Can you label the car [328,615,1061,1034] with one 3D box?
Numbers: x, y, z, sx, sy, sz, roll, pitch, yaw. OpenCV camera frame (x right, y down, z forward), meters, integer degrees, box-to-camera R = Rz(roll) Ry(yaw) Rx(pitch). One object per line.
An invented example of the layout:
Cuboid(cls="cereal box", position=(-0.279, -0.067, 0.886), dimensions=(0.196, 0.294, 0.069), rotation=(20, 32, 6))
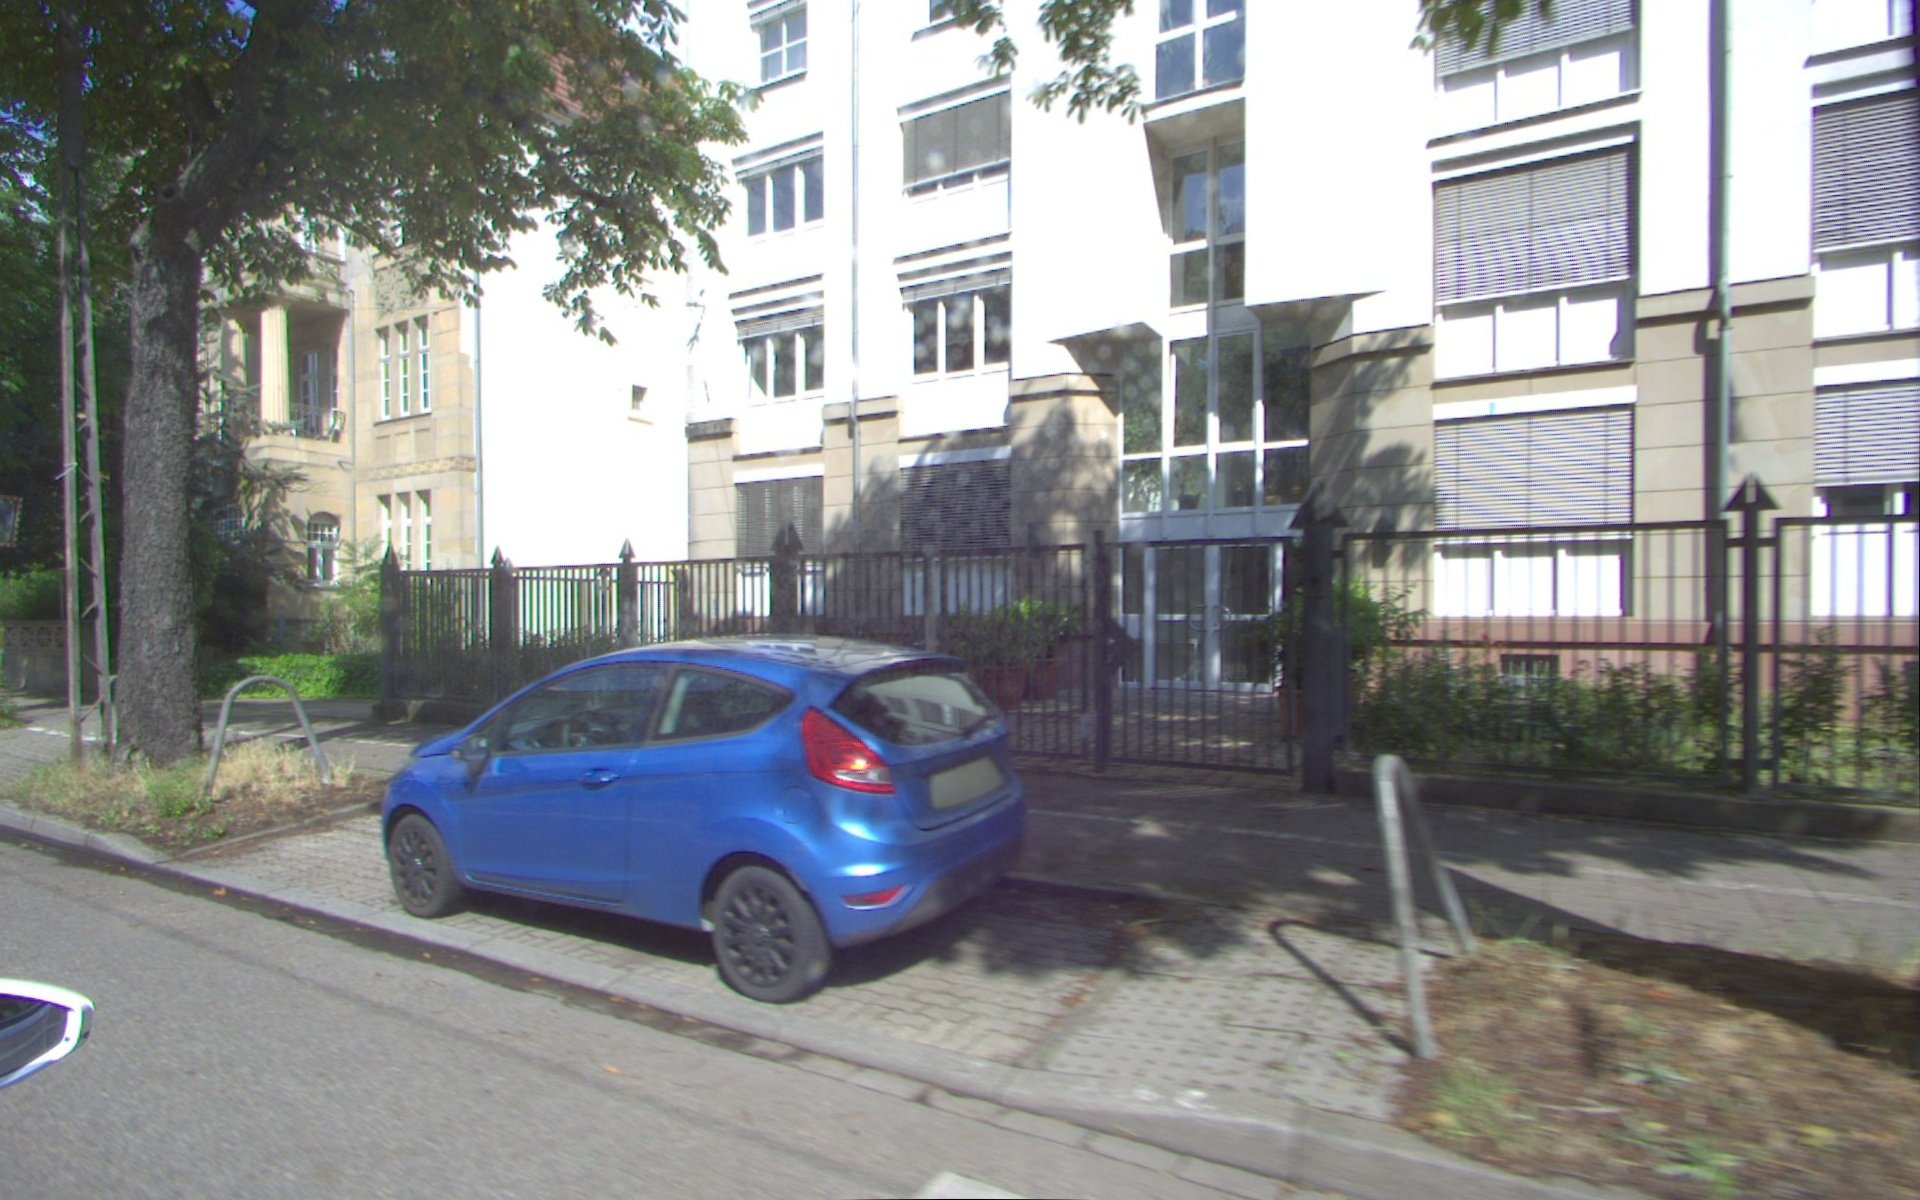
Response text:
Cuboid(cls="car", position=(-1.524, 0.867, 5.410), dimensions=(3.790, 1.516, 1.621), rotation=(0, 1, 31))
